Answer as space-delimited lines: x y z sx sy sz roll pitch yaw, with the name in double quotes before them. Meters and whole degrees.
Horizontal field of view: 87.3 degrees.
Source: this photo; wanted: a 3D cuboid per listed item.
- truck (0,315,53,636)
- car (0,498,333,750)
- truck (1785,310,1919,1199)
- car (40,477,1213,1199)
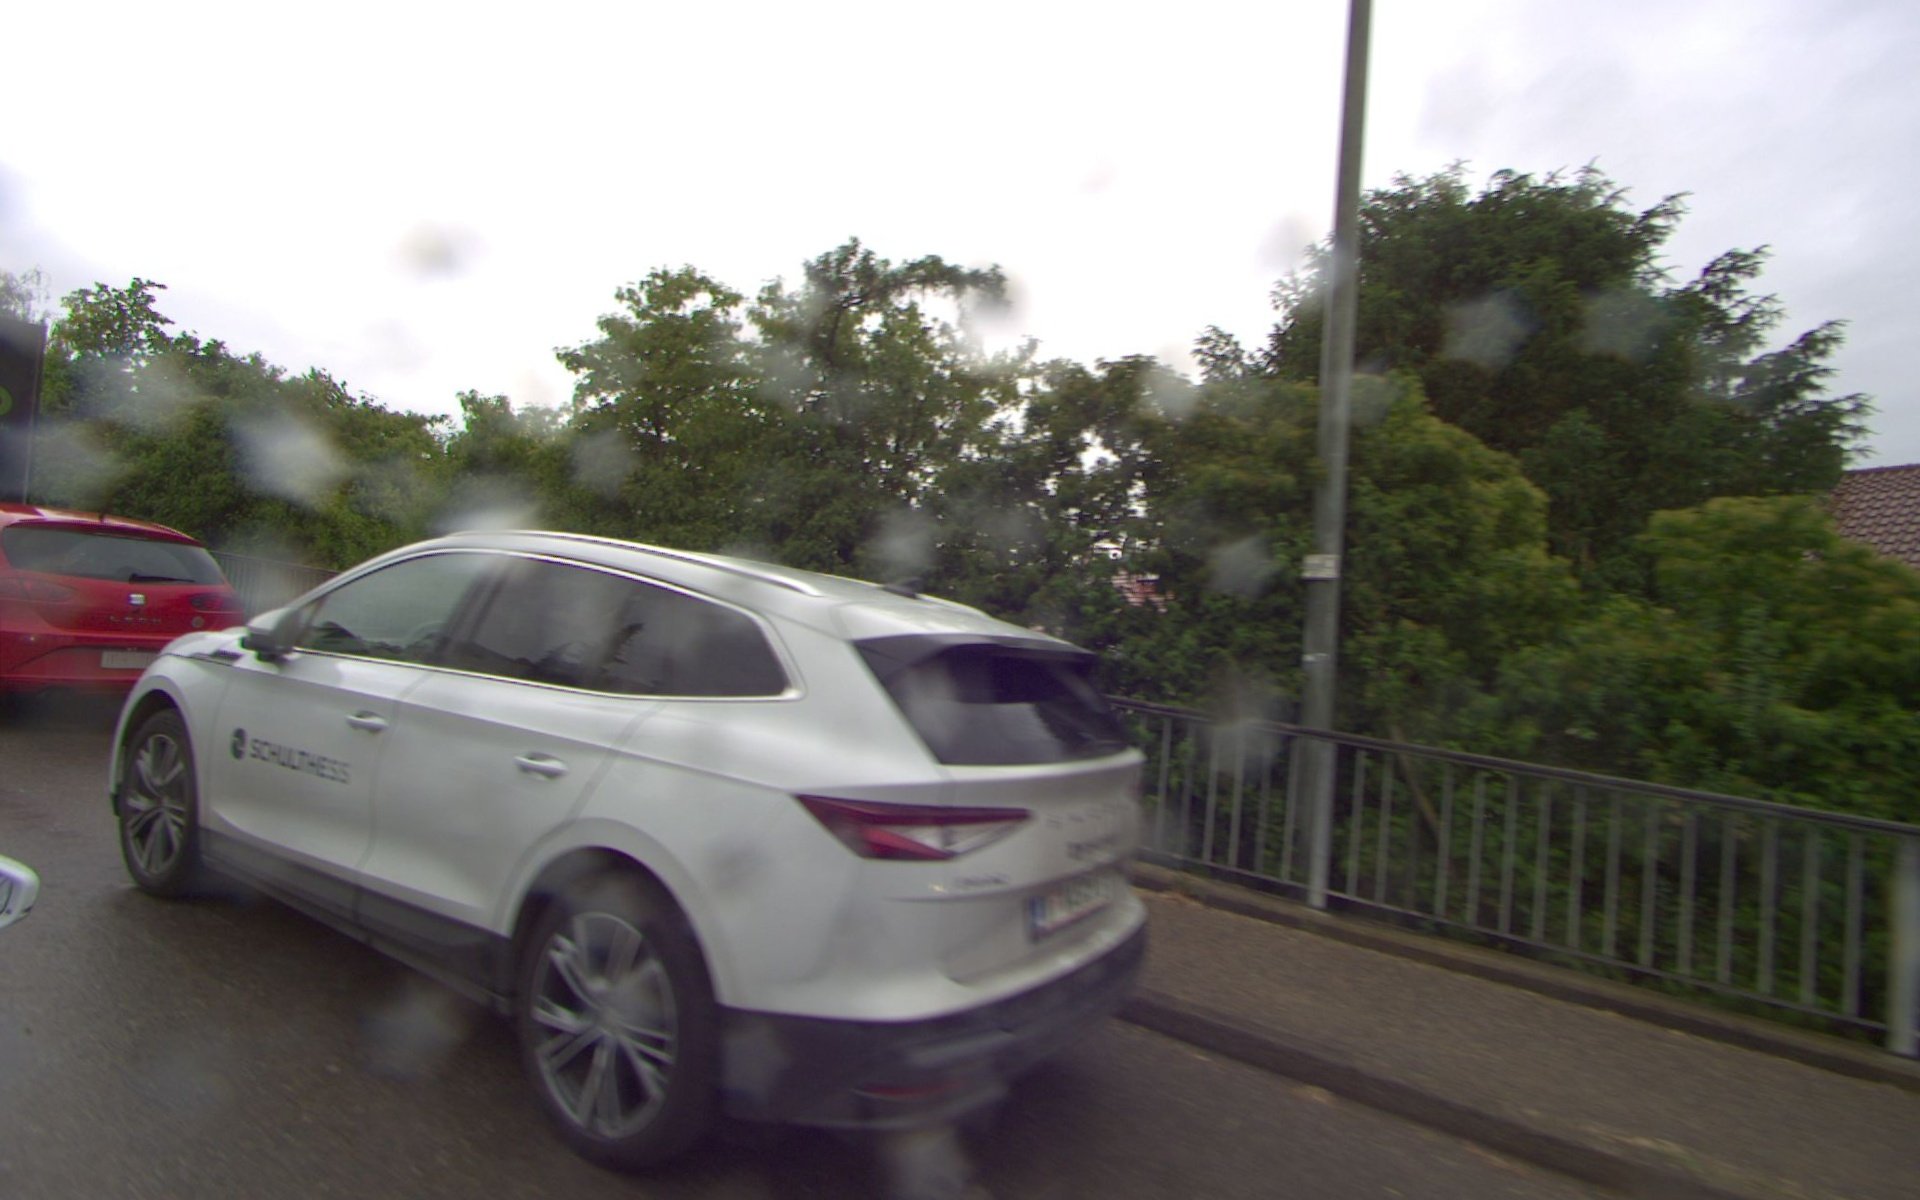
"truck" -13.995 -1.737 11.984 7.834 3.375 2.440 6 -1 32
"car" -7.209 -0.001 7.830 4.903 1.455 1.835 6 -1 31
"truck" 4.778 0.757 0.402 6.432 2.663 2.242 6 -1 33
"car" -1.583 0.546 4.008 4.589 1.623 1.762 6 -1 31
